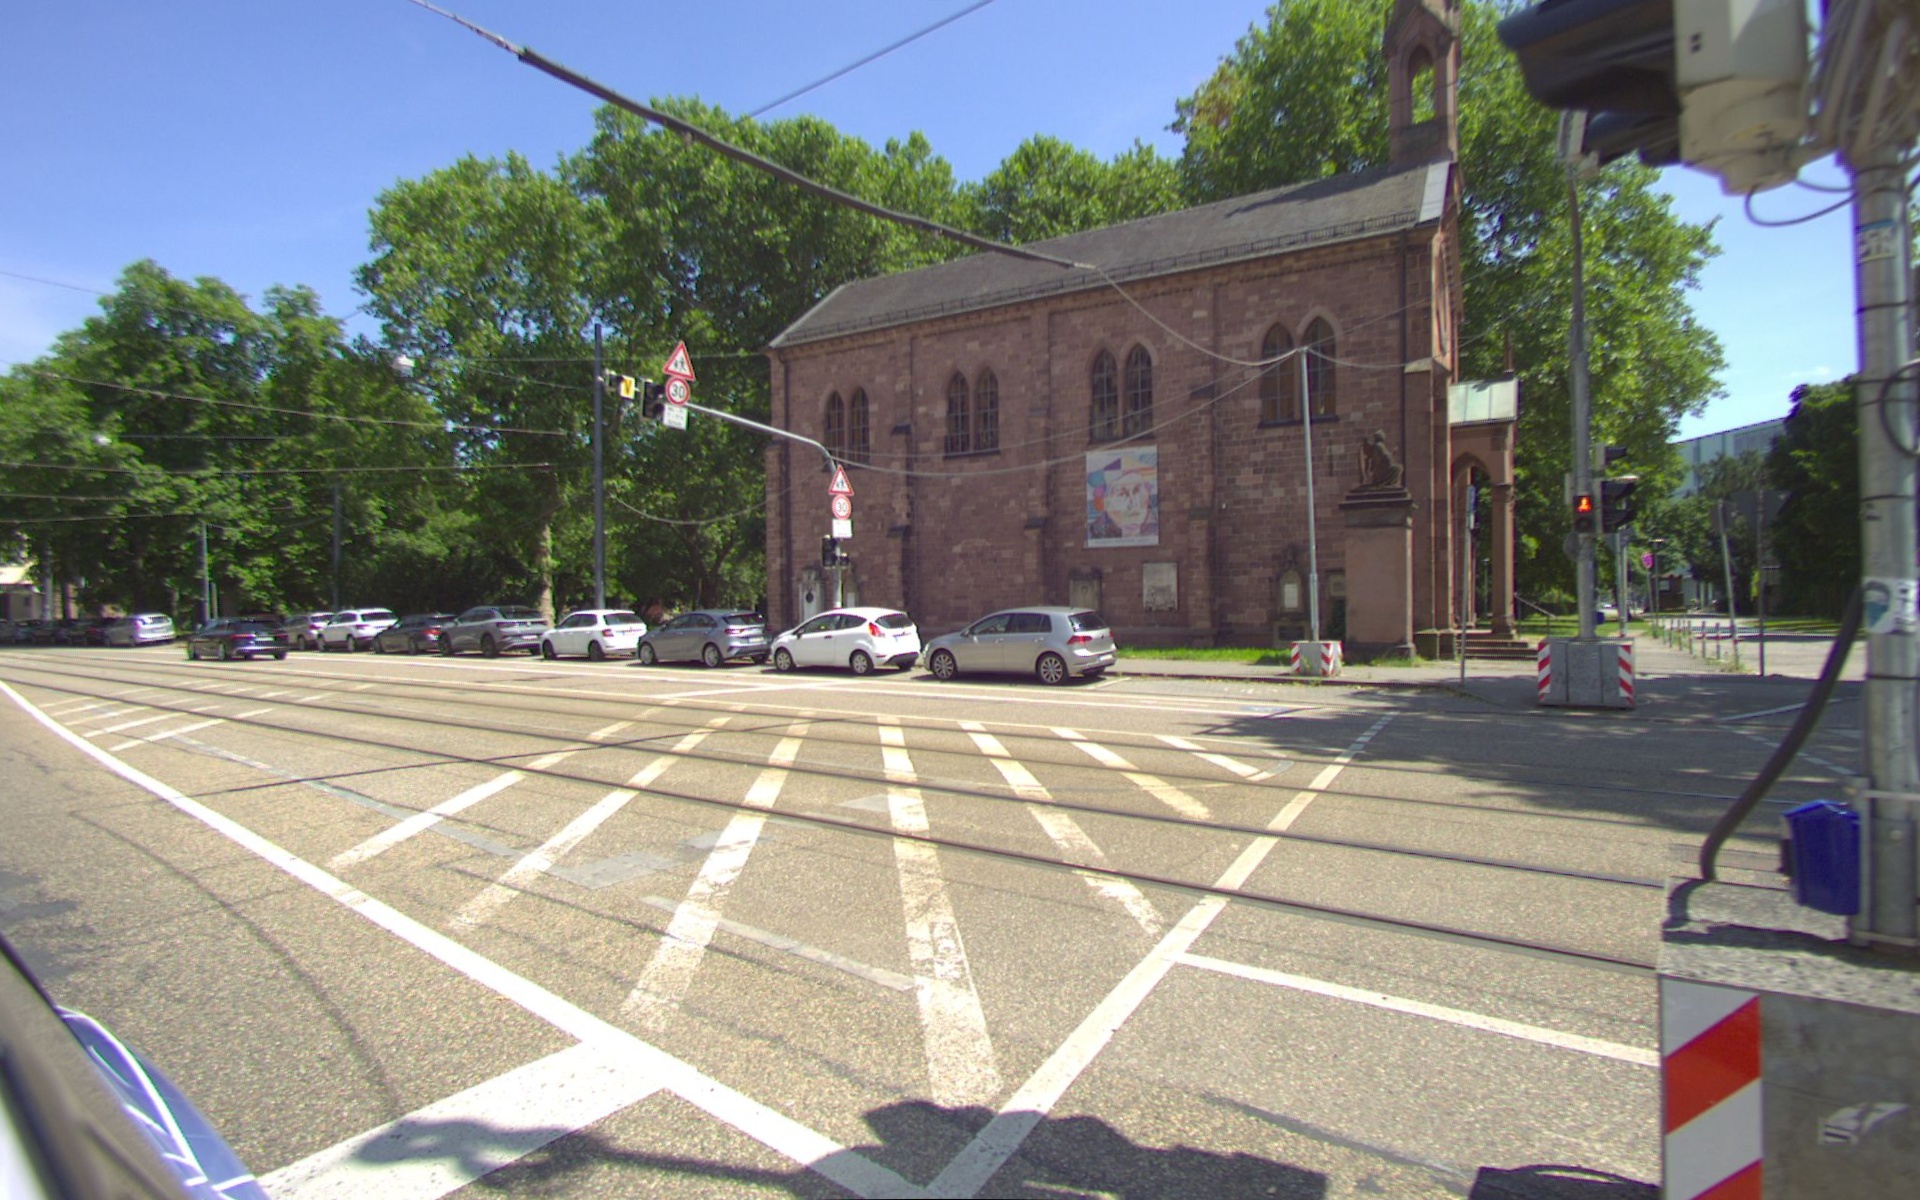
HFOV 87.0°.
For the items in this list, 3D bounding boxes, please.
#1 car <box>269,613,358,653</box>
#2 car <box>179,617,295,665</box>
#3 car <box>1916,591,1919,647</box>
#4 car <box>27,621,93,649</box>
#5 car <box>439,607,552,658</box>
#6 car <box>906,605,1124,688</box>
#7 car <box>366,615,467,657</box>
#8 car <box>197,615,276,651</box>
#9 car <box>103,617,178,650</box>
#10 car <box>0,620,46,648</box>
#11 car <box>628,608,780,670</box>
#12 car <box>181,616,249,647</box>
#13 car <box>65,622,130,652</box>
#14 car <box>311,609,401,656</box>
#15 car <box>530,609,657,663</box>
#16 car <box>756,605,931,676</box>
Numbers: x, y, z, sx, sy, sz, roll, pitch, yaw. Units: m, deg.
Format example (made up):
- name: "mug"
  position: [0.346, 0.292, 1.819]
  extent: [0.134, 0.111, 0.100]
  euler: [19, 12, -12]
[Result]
- name: "car"
  position: [-26.982, 1.359, 42.210]
  extent: [4.180, 1.509, 1.727]
  euler: [-1, 1, 37]
- name: "car"
  position: [-23.716, 1.313, 33.139]
  extent: [4.336, 1.405, 1.731]
  euler: [-1, 1, 35]
- name: "car"
  position: [28.142, 0.468, 26.379]
  extent: [4.475, 1.520, 1.913]
  euler: [-2, 1, 3]
- name: "car"
  position: [-51.480, 1.984, 57.896]
  extent: [3.987, 1.475, 1.791]
  euler: [-1, 1, 33]
- name: "car"
  position: [-15.150, 1.039, 32.945]
  extent: [3.746, 1.535, 1.727]
  euler: [-1, 1, 37]
- name: "car"
  position: [1.048, 0.890, 20.530]
  extent: [4.215, 1.470, 1.643]
  euler: [-1, 1, 38]
- name: "car"
  position: [-19.476, 1.261, 36.215]
  extent: [3.992, 1.386, 1.652]
  euler: [-1, 1, 37]
- name: "car"
  position: [-33.020, 1.507, 46.158]
  extent: [4.180, 1.509, 1.727]
  euler: [-1, 1, 37]
- name: "car"
  position: [-42.362, 1.729, 52.300]
  extent: [3.990, 1.574, 1.956]
  euler: [-1, 1, 35]
- name: "car"
  position: [-56.797, 2.044, 60.927]
  extent: [3.806, 1.526, 1.728]
  euler: [-1, 1, 33]
- name: "car"
  position: [-6.767, 0.990, 26.593]
  extent: [4.051, 1.470, 1.643]
  euler: [-1, 1, 37]
- name: "car"
  position: [-36.492, 1.541, 49.574]
  extent: [3.758, 1.390, 1.631]
  euler: [-1, 1, 37]
- name: "car"
  position: [-46.771, 1.987, 54.881]
  extent: [3.992, 1.475, 1.788]
  euler: [-1, 1, 36]
- name: "car"
  position: [-23.510, 1.238, 39.378]
  extent: [3.901, 1.665, 1.726]
  euler: [-1, 1, 39]
- name: "car"
  position: [-10.903, 1.043, 30.032]
  extent: [3.746, 1.470, 1.727]
  euler: [-1, 1, 37]
- name: "car"
  position: [-2.759, 0.905, 23.540]
  extent: [4.053, 1.470, 1.643]
  euler: [-1, 1, 38]
